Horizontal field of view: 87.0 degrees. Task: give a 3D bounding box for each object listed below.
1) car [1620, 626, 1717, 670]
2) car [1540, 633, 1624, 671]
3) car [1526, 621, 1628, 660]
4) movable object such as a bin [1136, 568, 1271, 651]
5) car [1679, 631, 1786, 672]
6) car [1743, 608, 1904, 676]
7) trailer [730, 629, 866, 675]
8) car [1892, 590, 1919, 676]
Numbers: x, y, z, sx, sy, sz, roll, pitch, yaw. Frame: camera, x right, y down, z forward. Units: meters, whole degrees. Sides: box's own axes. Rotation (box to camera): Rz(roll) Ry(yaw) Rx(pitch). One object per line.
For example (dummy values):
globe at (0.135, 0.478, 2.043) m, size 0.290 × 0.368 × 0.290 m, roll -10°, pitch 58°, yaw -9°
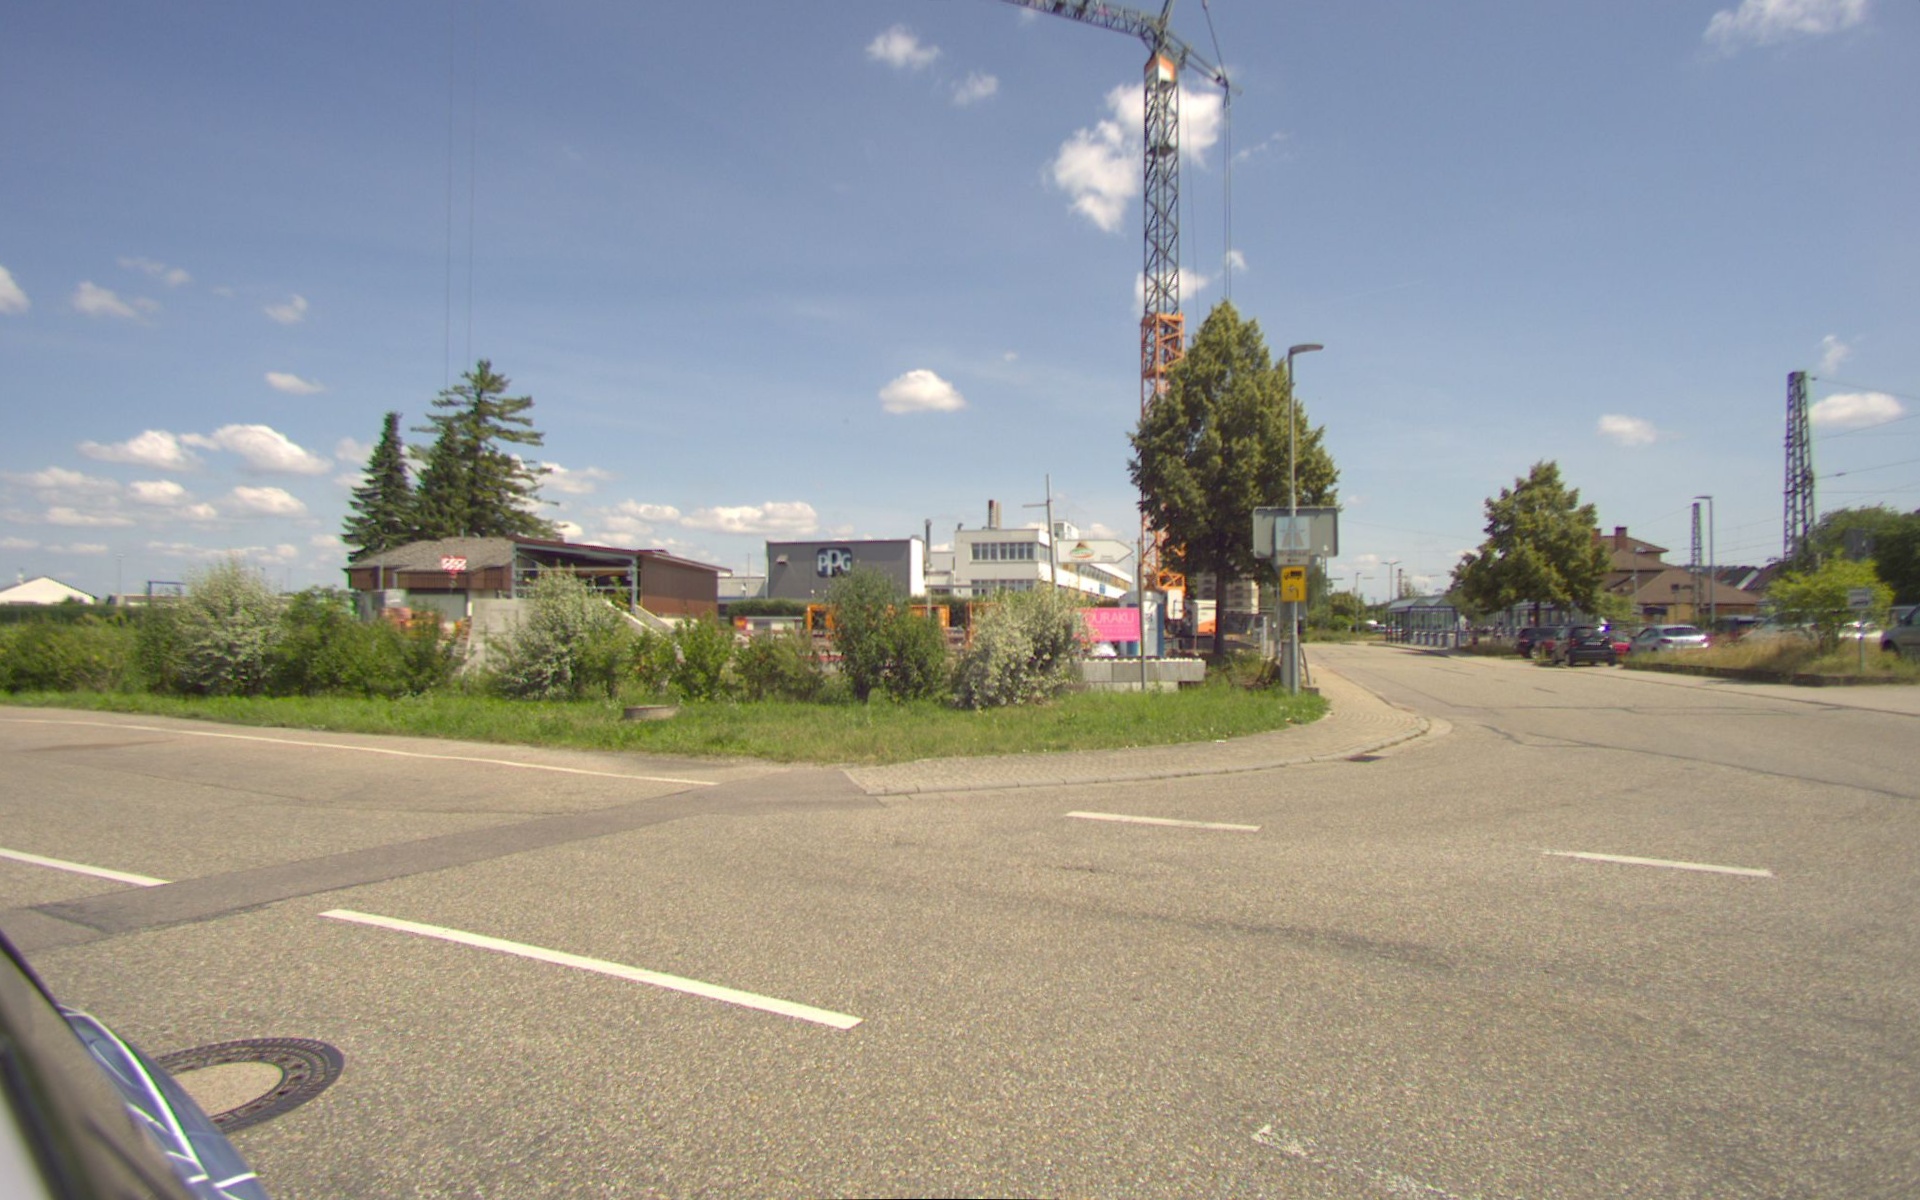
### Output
car at (26.001, 1.736, 37.267) m, size 1.594 × 1.533 × 3.981 m, roll -1°, pitch -2°, yaw 15°
car at (23.688, 1.948, 38.666) m, size 1.594 × 1.360 × 3.981 m, roll -1°, pitch -2°, yaw 15°
car at (26.944, 1.752, 44.285) m, size 3.398 × 1.604 × 1.646 m, roll 0°, pitch 0°, yaw 8°
movable object such as a bin at (10.268, 0.352, 43.038) m, size 5.053 × 3.317 × 2.398 m, roll 0°, pitch 3°, yaw -3°
car at (27.725, 1.818, 36.455) m, size 1.607 × 1.359 × 3.981 m, roll -1°, pitch -2°, yaw 15°
car at (23.335, 1.097, 27.554) m, size 1.717 × 1.698 × 3.981 m, roll 0°, pitch -1°, yaw 15°
trailer at (-6.608, 2.121, 41.623) m, size 5.324 × 1.792 × 1.822 m, roll 0°, pitch 0°, yaw 1°
car at (21.365, 0.677, 20.689) m, size 1.939 × 1.847 × 3.811 m, roll -1°, pitch -2°, yaw 19°
